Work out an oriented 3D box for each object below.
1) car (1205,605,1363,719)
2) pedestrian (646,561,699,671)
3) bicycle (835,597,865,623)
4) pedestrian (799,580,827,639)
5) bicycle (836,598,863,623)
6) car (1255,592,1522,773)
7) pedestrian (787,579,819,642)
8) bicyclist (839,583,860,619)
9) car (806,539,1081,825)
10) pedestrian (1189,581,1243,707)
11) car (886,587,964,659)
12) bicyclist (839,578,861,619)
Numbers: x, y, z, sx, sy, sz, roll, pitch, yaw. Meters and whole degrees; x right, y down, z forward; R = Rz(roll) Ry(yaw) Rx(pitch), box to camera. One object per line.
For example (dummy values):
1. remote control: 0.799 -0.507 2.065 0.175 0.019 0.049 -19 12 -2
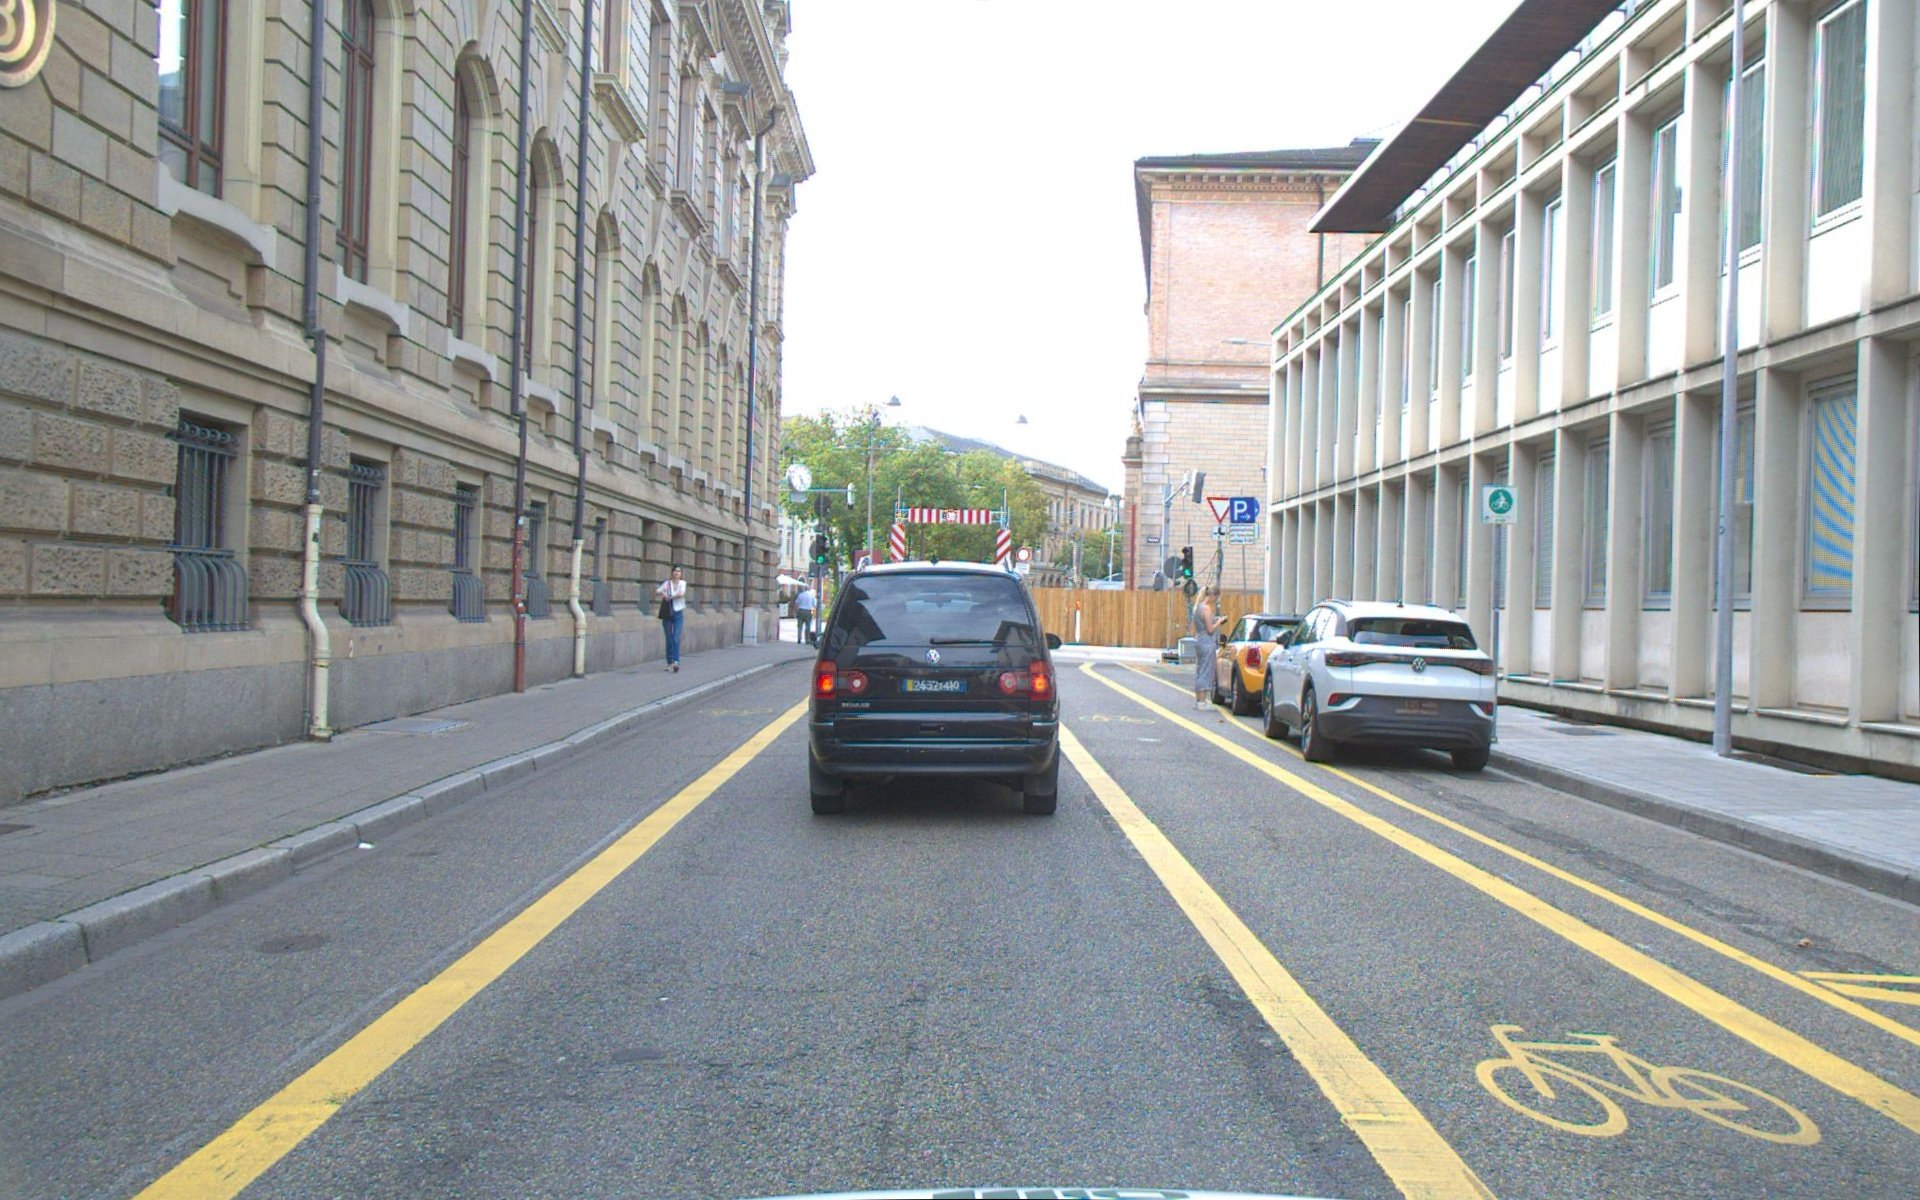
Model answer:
1. car: 4.737 0.857 24.634 1.645 1.460 3.887 3 0 2
2. pedestrian: -5.023 0.272 28.945 0.650 1.851 1.048 3 -1 -1
3. bicycle: -4.450 0.404 66.658 0.723 1.026 2.059 1 0 -17
4. pedestrian: -4.736 0.296 53.392 0.776 1.851 1.047 3 -1 -4
5. bicycle: -4.722 0.458 70.579 0.723 1.026 2.060 1 0 -15
6. car: 4.488 0.800 18.044 1.822 1.633 4.513 3 0 2
7. pedestrian: -4.765 0.310 50.245 0.776 1.851 1.048 3 -1 -1
8. bicyclist: -4.716 0.040 70.581 0.722 1.495 0.806 1 -1 -14
9. car: -0.035 0.538 12.644 1.752 1.821 4.104 0 0 2
10. pedestrian: 3.728 0.629 24.116 0.683 1.794 0.706 1 -1 4
11. car: -0.827 0.535 39.744 1.737 1.613 3.999 1 0 -1
12. bicyclist: -4.442 -0.060 66.664 0.723 1.640 0.691 1 -1 -18
